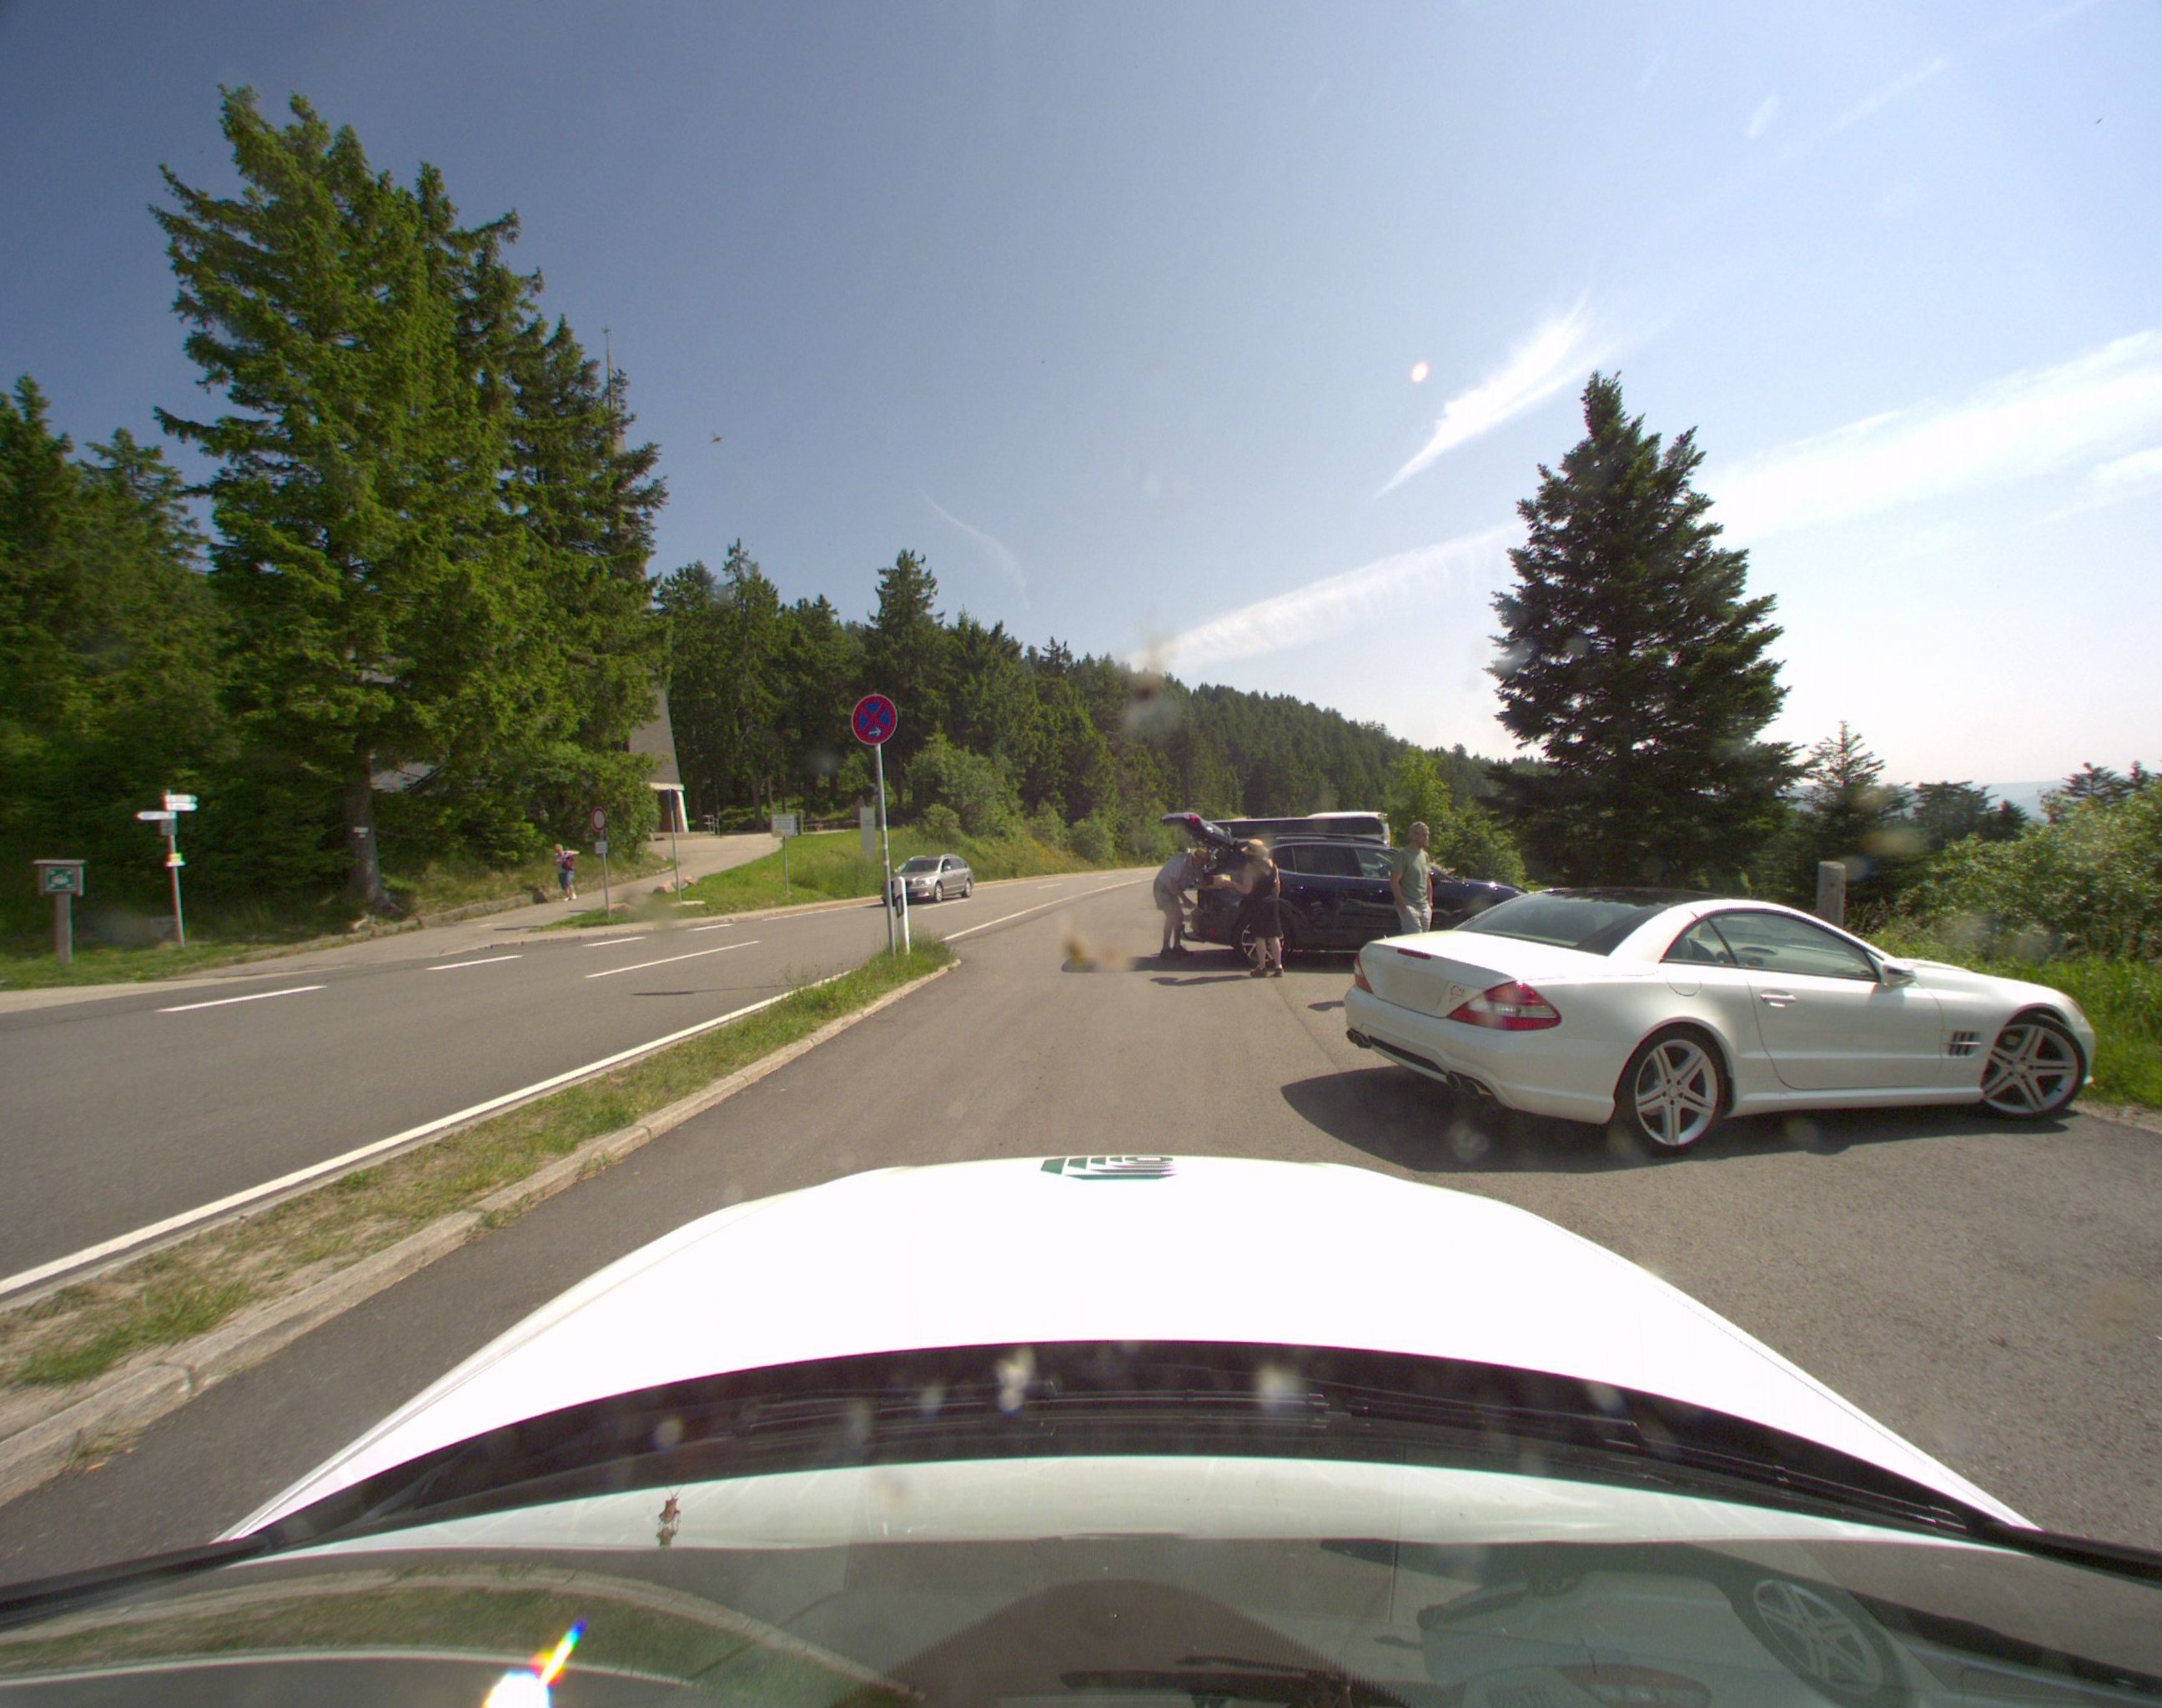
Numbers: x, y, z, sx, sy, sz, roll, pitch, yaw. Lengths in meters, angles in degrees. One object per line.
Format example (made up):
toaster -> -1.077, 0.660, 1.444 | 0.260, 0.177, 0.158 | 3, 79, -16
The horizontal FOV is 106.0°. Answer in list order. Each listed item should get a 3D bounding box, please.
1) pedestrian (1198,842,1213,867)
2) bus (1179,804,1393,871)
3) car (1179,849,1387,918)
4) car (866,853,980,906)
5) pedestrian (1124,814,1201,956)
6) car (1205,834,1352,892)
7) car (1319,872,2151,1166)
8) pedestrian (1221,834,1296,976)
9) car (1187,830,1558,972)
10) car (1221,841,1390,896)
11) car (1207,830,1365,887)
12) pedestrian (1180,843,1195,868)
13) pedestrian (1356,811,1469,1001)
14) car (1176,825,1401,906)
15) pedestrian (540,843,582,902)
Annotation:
pedestrian -> 7.950, 0.020, 51.932 | 0.764, 1.585, 0.776 | -3, 0, 17
bus -> 13.139, -0.972, 52.630 | 12.982, 3.532, 3.059 | -3, 0, 20
car -> 4.161, 0.582, 17.275 | 4.063, 1.376, 1.704 | 0, 0, 4
car -> -4.937, 0.760, 26.234 | 1.867, 1.474, 4.729 | -2, 0, 12
pedestrian -> 1.123, 0.389, 11.217 | 0.728, 1.870, 0.763 | 1, 3, 40
car -> 6.049, 0.261, 25.318 | 4.217, 1.554, 1.843 | -3, 0, 10
car -> 3.942, 0.800, 5.136 | 4.402, 1.296, 1.748 | 0, 1, -13
pedestrian -> 2.081, 0.578, 9.590 | 0.714, 1.613, 0.535 | 0, -1, -10
car -> 3.645, 0.561, 10.875 | 4.323, 1.626, 1.872 | 1, 0, 5
car -> 6.007, 0.380, 22.213 | 4.217, 1.269, 1.843 | -3, 0, 10
car -> 6.933, 0.160, 27.975 | 5.002, 1.651, 2.054 | -3, 0, 10
pedestrian -> 6.881, 0.092, 52.509 | 0.764, 1.585, 0.776 | -3, 0, 17
pedestrian -> 3.327, 0.493, 8.212 | 0.749, 1.800, 0.730 | 0, -1, -22
car -> 4.863, 0.277, 19.500 | 4.915, 1.695, 1.952 | -2, 0, 12
pedestrian -> -15.394, 0.544, 24.107 | 0.718, 1.681, 0.682 | -3, 0, -3
